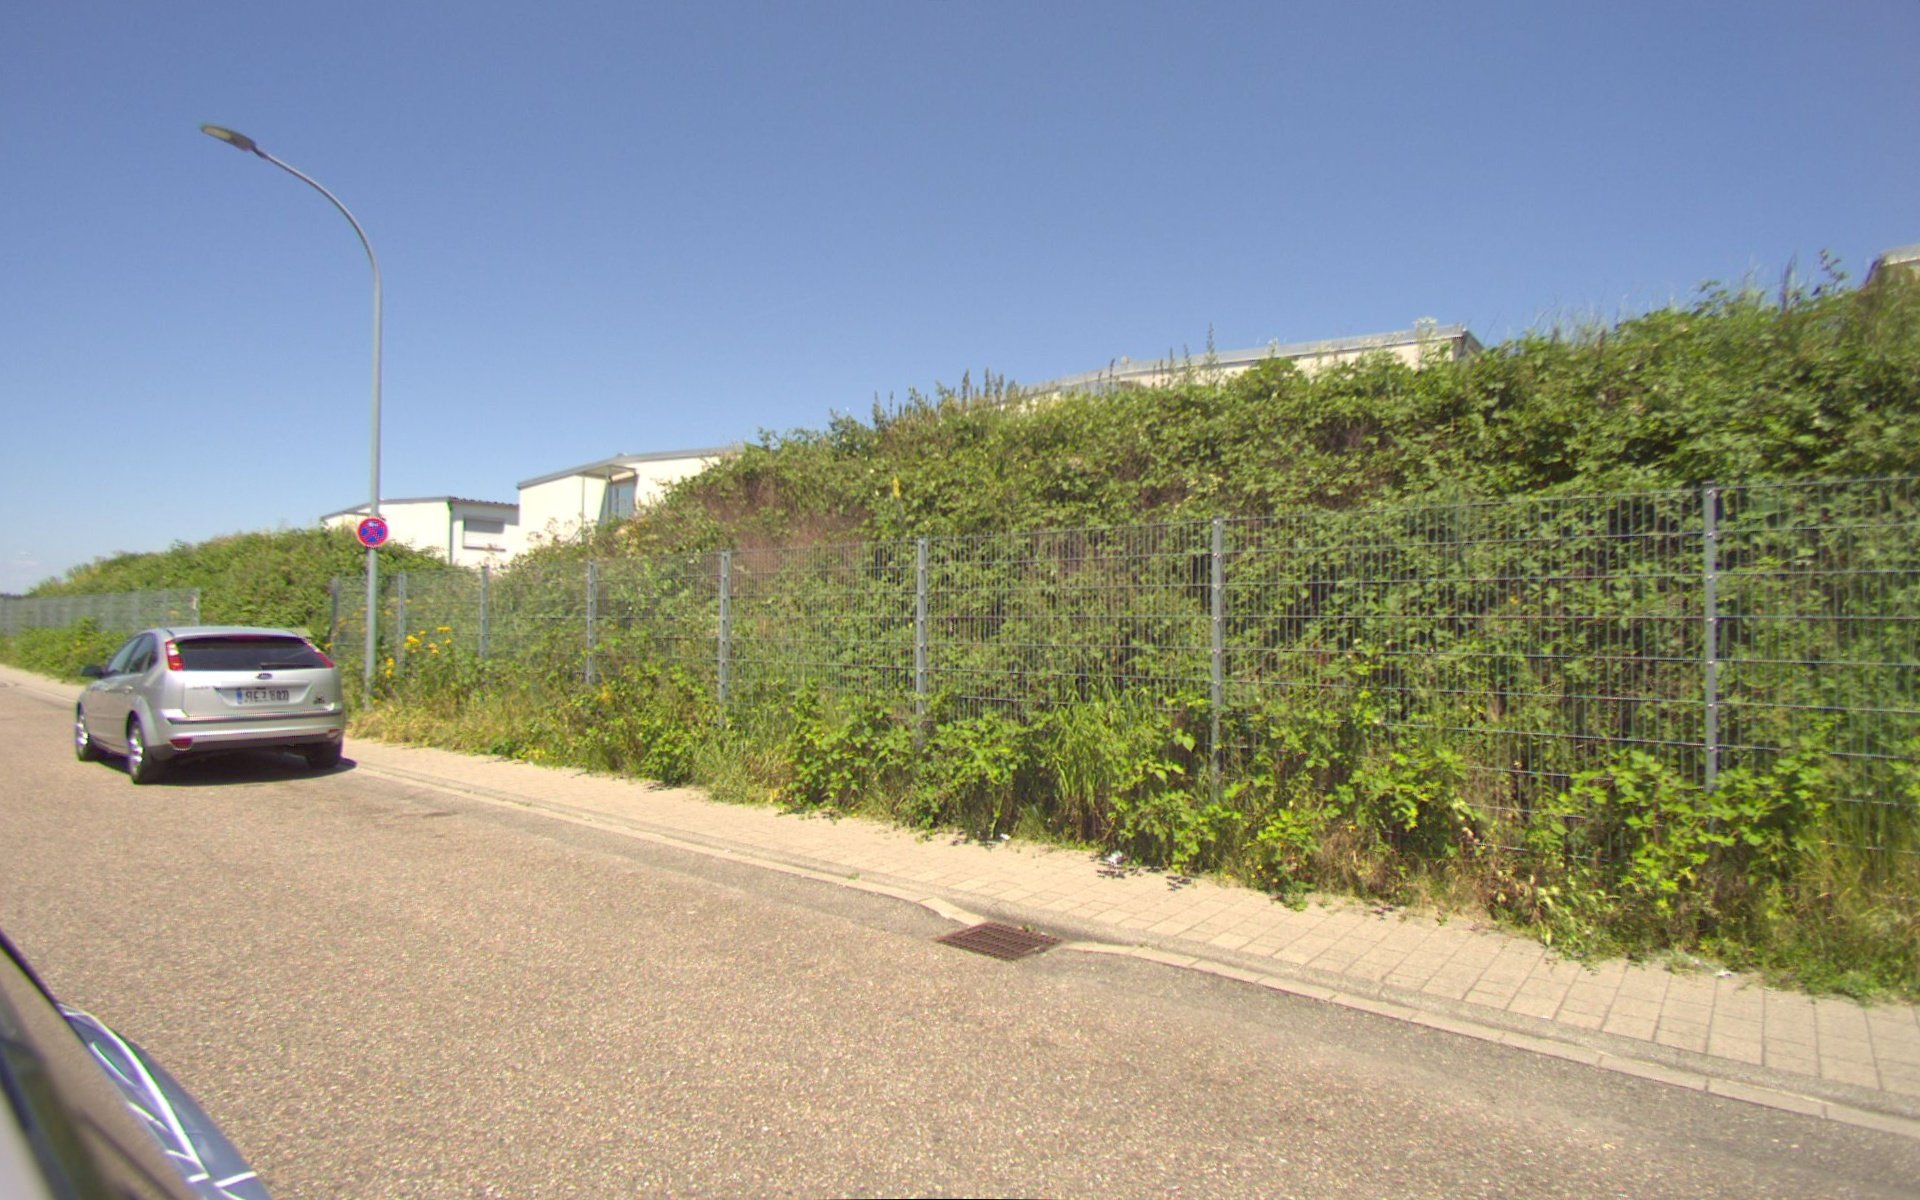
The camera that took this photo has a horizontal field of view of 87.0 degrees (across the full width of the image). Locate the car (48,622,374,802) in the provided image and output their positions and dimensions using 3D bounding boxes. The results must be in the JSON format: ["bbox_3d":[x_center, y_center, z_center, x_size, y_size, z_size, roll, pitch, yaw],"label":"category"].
[{"bbox_3d":[-8.199,1.043,10.933,4.363,1.558,1.815,-1,-3,40],"label":"car"}]

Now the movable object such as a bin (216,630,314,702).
[{"bbox_3d":[-15.171,1.399,22.093,1.837,1.488,1.290,-1,-2,40],"label":"movable object such as a bin"}]

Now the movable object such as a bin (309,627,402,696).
[{"bbox_3d":[-14.178,1.400,23.714,1.764,1.476,1.336,-1,1,40],"label":"movable object such as a bin"}]
